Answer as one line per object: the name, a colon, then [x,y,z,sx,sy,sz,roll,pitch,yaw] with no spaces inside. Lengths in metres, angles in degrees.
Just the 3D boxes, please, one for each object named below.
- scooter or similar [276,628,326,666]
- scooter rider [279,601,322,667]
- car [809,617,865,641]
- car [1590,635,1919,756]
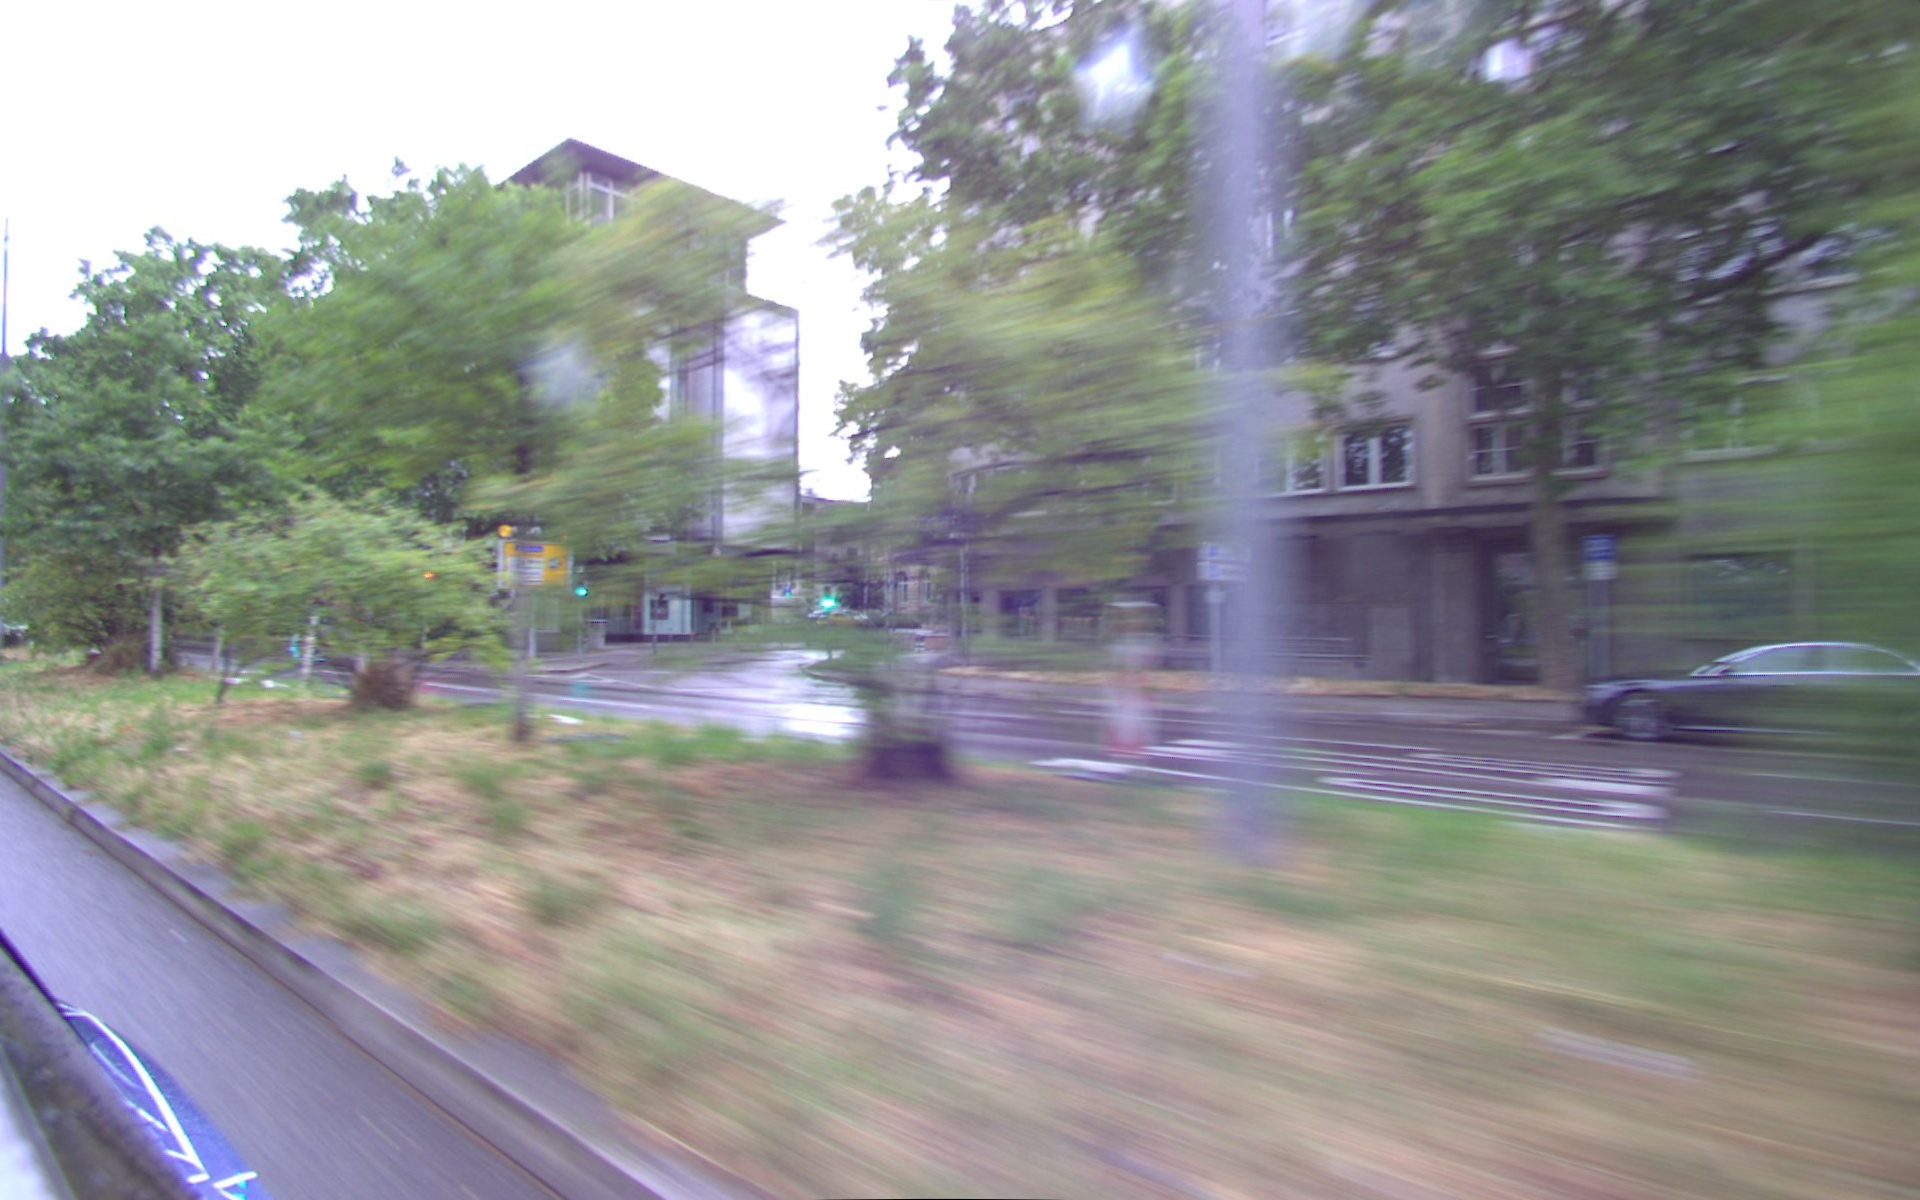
scooter or similar: [-19.948,1.420,30.645,0.434,1.122,1.170,-1,-1,38]
scooter rider: [-19.922,1.005,30.593,0.756,1.955,0.891,-1,-1,38]
car: [-9.751,2.292,80.213,4.078,1.852,1.931,0,-1,-41]
car: [11.380,1.247,13.694,4.667,1.446,1.750,-1,-5,39]
